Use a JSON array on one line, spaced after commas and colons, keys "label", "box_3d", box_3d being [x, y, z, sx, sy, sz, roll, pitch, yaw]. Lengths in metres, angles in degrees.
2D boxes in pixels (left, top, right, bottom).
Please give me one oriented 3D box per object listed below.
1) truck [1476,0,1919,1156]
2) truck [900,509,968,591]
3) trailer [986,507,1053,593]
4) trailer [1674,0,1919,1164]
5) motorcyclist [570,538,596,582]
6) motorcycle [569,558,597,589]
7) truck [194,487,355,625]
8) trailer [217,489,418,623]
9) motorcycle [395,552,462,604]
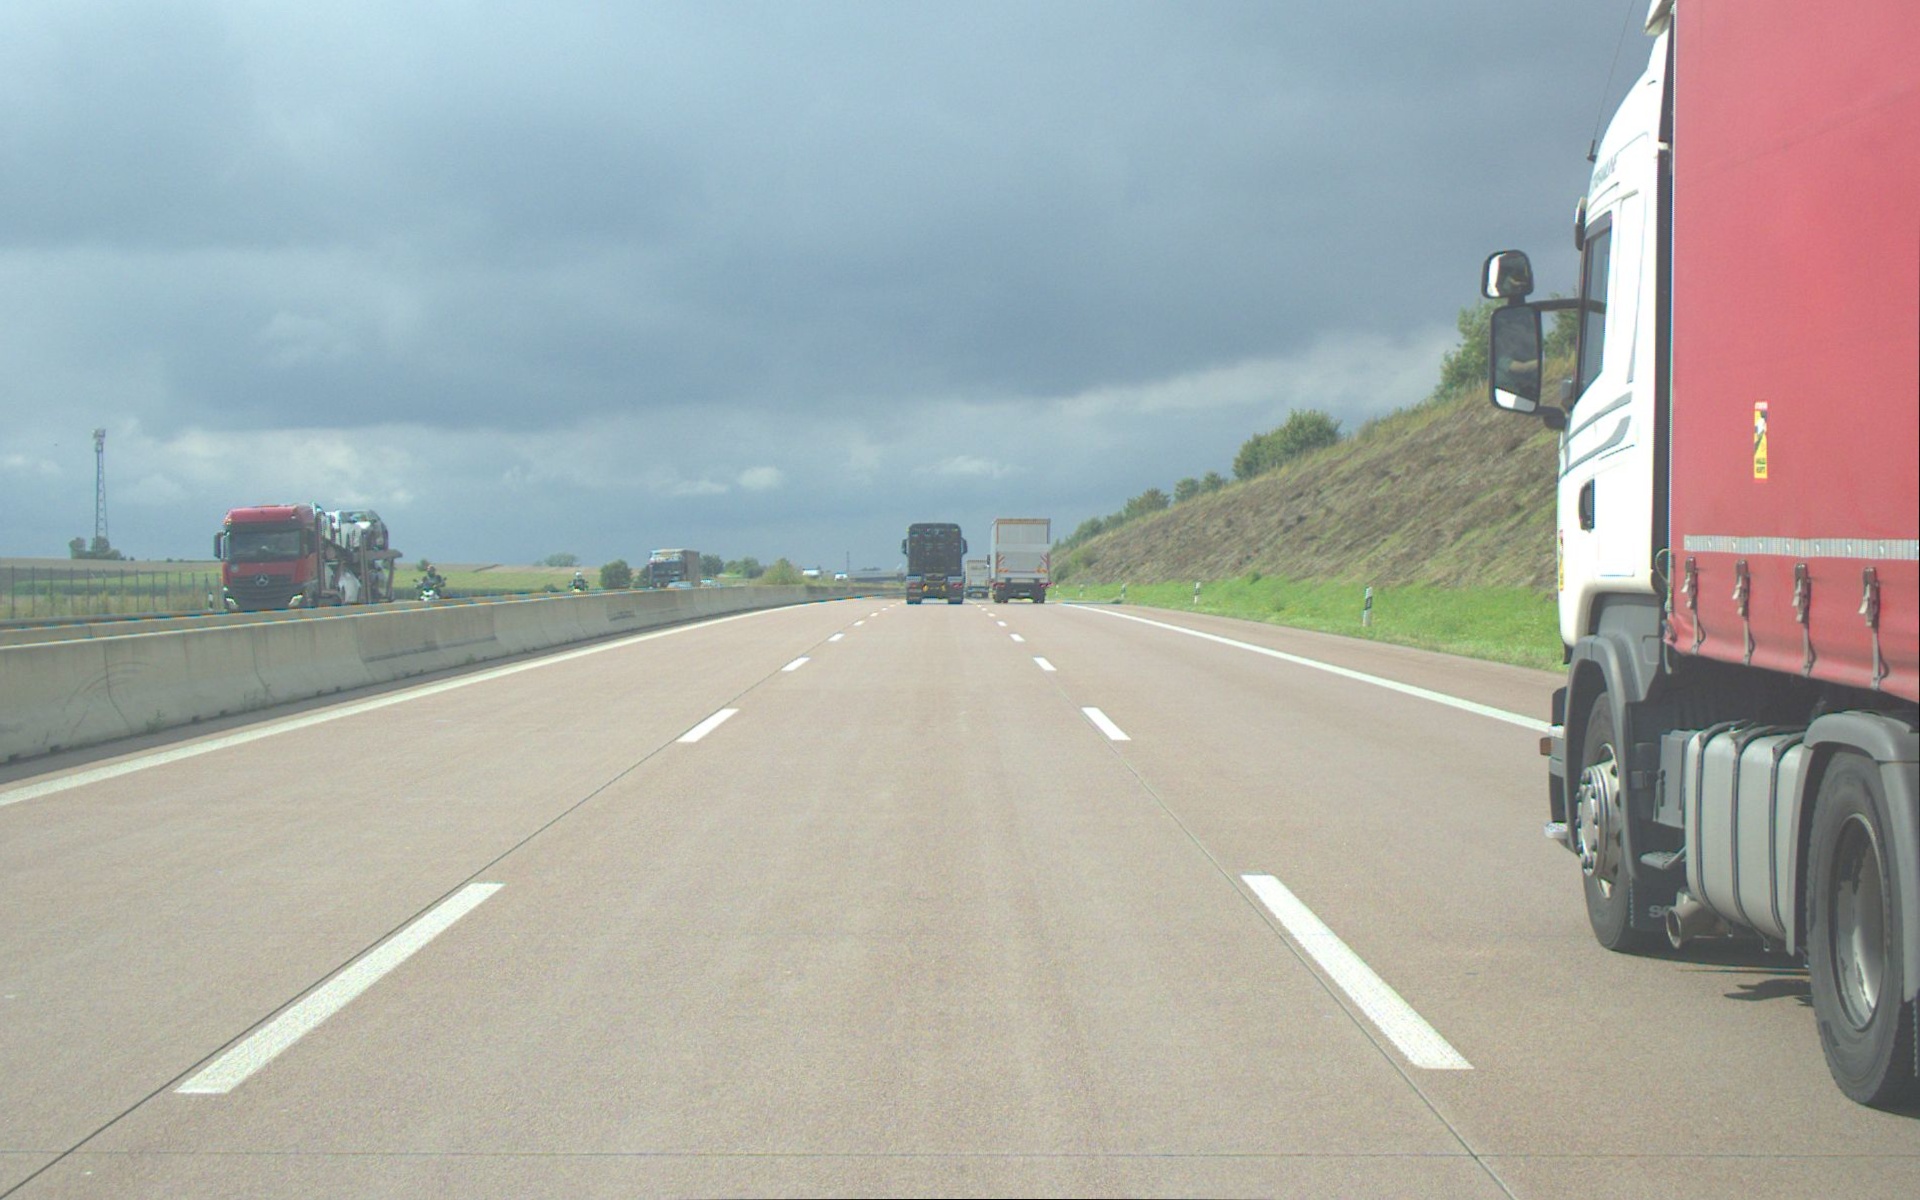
[{"label": "truck", "box_3d": [3.642, -0.709, 11.803, 2.674, 4.092, 6.616, 0, 1, -1]}, {"label": "truck", "box_3d": [-1.218, -2.180, 153.611, 2.847, 3.538, 8.320, 0, 0, -2]}, {"label": "trailer", "box_3d": [2.810, -2.333, 164.249, 2.747, 3.998, 8.671, 0, 0, -2]}, {"label": "trailer", "box_3d": [3.730, -0.616, 4.786, 2.672, 4.079, 12.790, 0, 1, -1]}, {"label": "motorcyclist", "box_3d": [-16.335, -1.738, 149.108, 1.009, 1.855, 0.744, 1, 0, 2]}, {"label": "motorcycle", "box_3d": [-16.341, -1.155, 149.102, 0.926, 1.299, 2.342, 1, 1, 0]}, {"label": "truck", "box_3d": [-20.592, -1.321, 103.705, 3.194, 3.964, 7.730, 1, 1, 1]}, {"label": "trailer", "box_3d": [-20.503, -1.398, 110.900, 3.194, 3.964, 16.325, 1, 1, 1]}, {"label": "motorcycle", "box_3d": [-16.100, -0.682, 104.312, 1.554, 1.537, 2.841, 1, 1, 0]}]
